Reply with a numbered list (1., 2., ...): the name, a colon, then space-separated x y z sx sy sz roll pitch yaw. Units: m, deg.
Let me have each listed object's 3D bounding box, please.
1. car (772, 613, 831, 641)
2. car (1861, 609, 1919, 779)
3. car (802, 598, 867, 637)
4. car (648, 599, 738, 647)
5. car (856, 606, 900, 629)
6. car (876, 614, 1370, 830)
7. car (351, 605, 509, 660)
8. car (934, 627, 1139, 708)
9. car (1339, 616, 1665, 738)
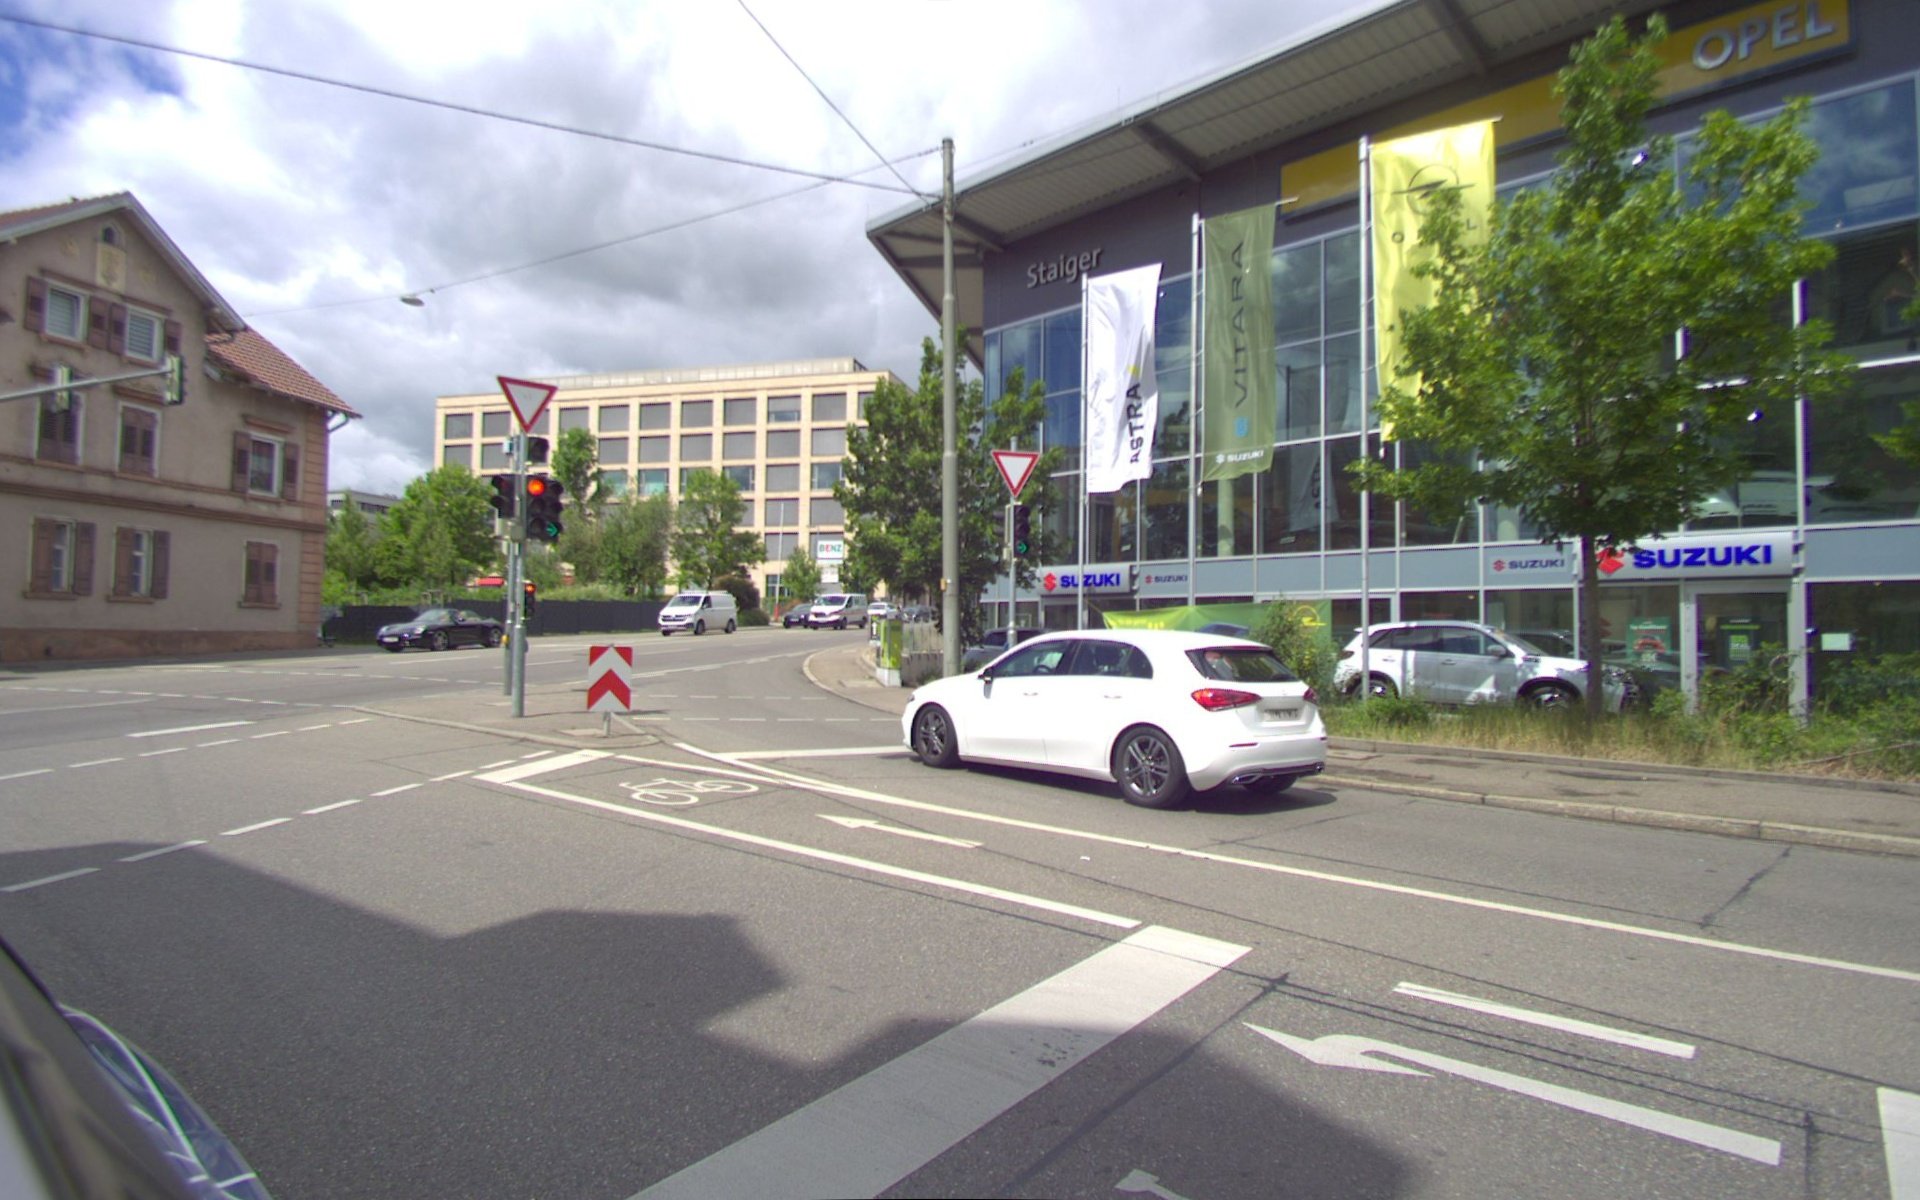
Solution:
1. car: -9.321 1.565 59.909 1.980 1.477 4.313 -1 1 13
2. car: 10.334 0.902 10.140 1.811 1.509 3.945 -3 -4 41
3. car: -6.853 0.912 55.685 1.980 2.008 4.970 -1 0 12
4. car: -12.327 1.006 47.052 1.981 2.026 4.796 -1 1 14
5. car: -5.912 1.254 73.091 1.980 1.545 4.313 -1 1 13
6. car: 1.230 0.925 9.363 1.697 1.508 4.471 4 -3 -40
7. car: -16.083 0.941 30.999 1.980 1.477 4.313 -1 1 13
8. car: 1.559 1.373 21.950 1.919 1.485 4.311 0 -1 -42
9. car: 8.149 1.051 15.444 1.920 1.574 3.998 0 -1 -45
